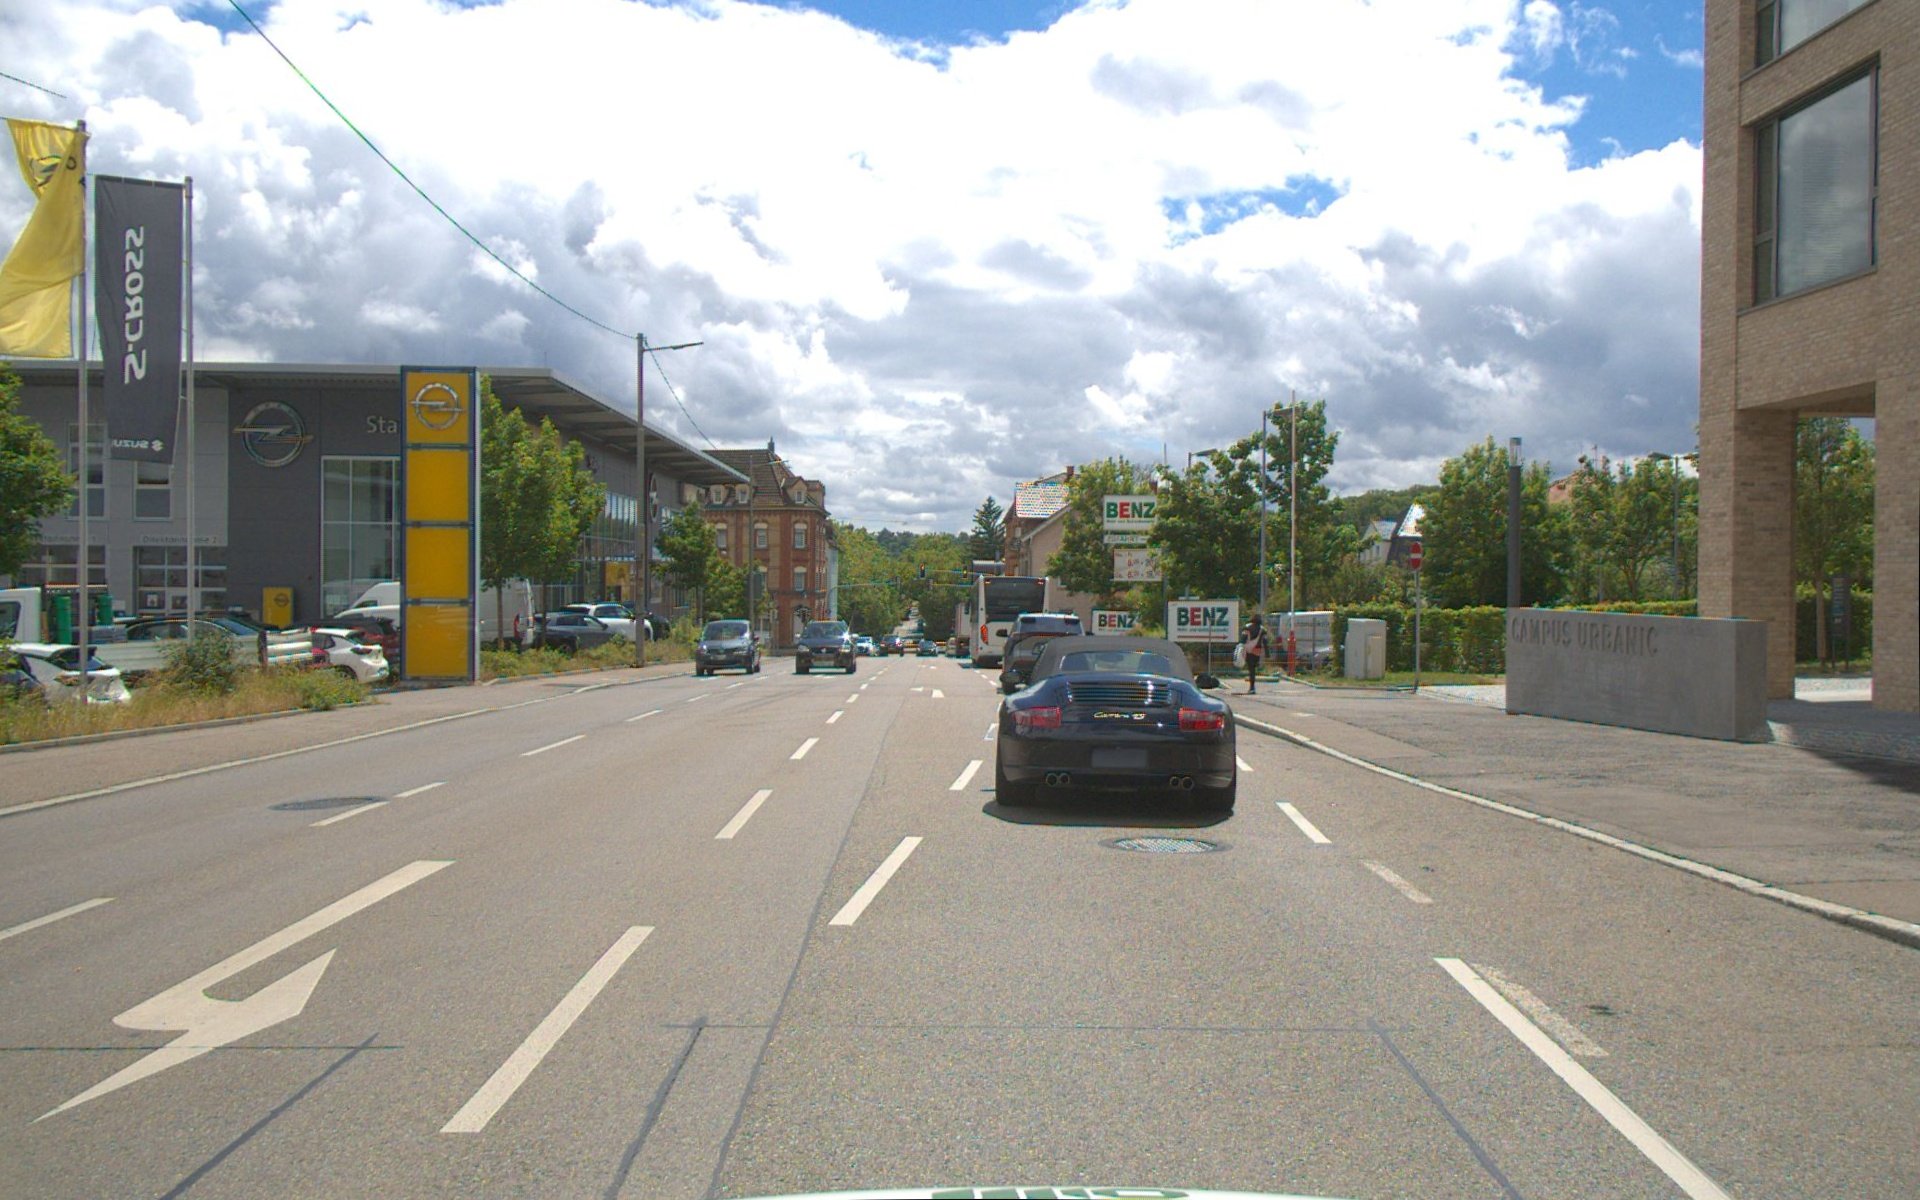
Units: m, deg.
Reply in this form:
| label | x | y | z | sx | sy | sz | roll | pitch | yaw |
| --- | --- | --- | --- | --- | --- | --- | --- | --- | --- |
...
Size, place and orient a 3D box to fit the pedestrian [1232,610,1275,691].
| label | x | y | z | sx | sy | sz | roll | pitch | yaw |
| --- | --- | --- | --- | --- | --- | --- | --- | --- | --- |
| pedestrian | 5.741 | 0.981 | 32.410 | 0.673 | 1.563 | 0.856 | 0 | 0 | -1 |

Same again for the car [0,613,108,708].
| label | x | y | z | sx | sy | sz | roll | pitch | yaw |
| --- | --- | --- | --- | --- | --- | --- | --- | --- | --- |
| car | -17.635 | 1.112 | 29.338 | 3.997 | 1.548 | 1.826 | -2 | 1 | -2 |

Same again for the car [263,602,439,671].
| label | x | y | z | sx | sy | sz | roll | pitch | yaw |
| --- | --- | --- | --- | --- | --- | --- | --- | --- | --- |
| car | -16.226 | 0.959 | 44.183 | 3.903 | 1.735 | 2.001 | 0 | 1 | 4 |

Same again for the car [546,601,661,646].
| label | x | y | z | sx | sy | sz | roll | pitch | yaw |
| --- | --- | --- | --- | --- | --- | --- | --- | --- | --- |
| car | -12.979 | 0.886 | 60.542 | 1.891 | 1.600 | 4.552 | 0 | -1 | 22 |

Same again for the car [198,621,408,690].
| label | x | y | z | sx | sy | sz | roll | pitch | yaw |
| --- | --- | --- | --- | --- | --- | --- | --- | --- | --- |
| car | -14.677 | 1.229 | 37.118 | 3.907 | 1.433 | 1.999 | 0 | 1 | -2 |

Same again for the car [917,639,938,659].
| label | x | y | z | sx | sy | sz | roll | pitch | yaw |
| --- | --- | --- | --- | --- | --- | --- | --- | --- | --- |
| car | -2.812 | 4.241 | 142.277 | 1.826 | 1.695 | 4.257 | 0 | -1 | -2 |

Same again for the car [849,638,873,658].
| label | x | y | z | sx | sy | sz | roll | pitch | yaw |
| --- | --- | --- | --- | --- | --- | --- | --- | --- | --- |
| car | -8.129 | 3.944 | 135.883 | 1.826 | 1.567 | 4.105 | 0 | -1 | -1 |

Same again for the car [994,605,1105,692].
| label | x | y | z | sx | sy | sz | roll | pitch | yaw |
| --- | --- | --- | --- | --- | --- | --- | --- | --- | --- |
| car | 1.787 | 0.955 | 34.366 | 1.892 | 1.610 | 4.206 | 0 | 1 | -3 |

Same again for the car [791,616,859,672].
| label | x | y | z | sx | sy | sz | roll | pitch | yaw |
| --- | --- | --- | --- | --- | --- | --- | --- | --- | --- |
| car | -3.862 | 1.249 | 47.889 | 1.792 | 1.535 | 4.274 | 0 | -1 | -2 |

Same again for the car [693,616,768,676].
| label | x | y | z | sx | sy | sz | roll | pitch | yaw |
| --- | --- | --- | --- | --- | --- | --- | --- | --- | --- |
| car | -6.727 | 1.322 | 48.800 | 1.708 | 1.623 | 4.040 | -2 | 0 | -2 |

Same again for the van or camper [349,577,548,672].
| label | x | y | z | sx | sy | sz | roll | pitch | yaw |
| --- | --- | --- | --- | --- | --- | --- | --- | --- | --- |
| van or camper | -14.386 | 0.670 | 46.749 | 4.925 | 2.575 | 2.317 | 0 | 1 | -2 |

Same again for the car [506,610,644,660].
| label | x | y | z | sx | sy | sz | roll | pitch | yaw |
| --- | --- | --- | --- | --- | --- | --- | --- | --- | --- |
| car | -12.794 | 1.125 | 55.245 | 1.858 | 1.476 | 4.827 | 1 | 1 | 27 |

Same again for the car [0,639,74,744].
| label | x | y | z | sx | sy | sz | roll | pitch | yaw |
| --- | --- | --- | --- | --- | --- | --- | --- | --- | --- |
| car | -13.180 | 1.086 | 20.197 | 3.641 | 1.233 | 1.928 | 0 | -1 | -1 |

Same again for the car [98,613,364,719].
| label | x | y | z | sx | sy | sz | roll | pitch | yaw |
| --- | --- | --- | --- | --- | --- | --- | --- | --- | --- |
| car | -13.007 | 1.161 | 29.676 | 3.906 | 1.616 | 1.754 | -3 | 1 | 0 |

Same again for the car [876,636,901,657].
| label | x | y | z | sx | sy | sz | roll | pitch | yaw |
| --- | --- | --- | --- | --- | --- | --- | --- | --- | --- |
| car | -5.453 | 3.581 | 126.508 | 1.826 | 1.567 | 4.105 | 0 | -1 | -2 |

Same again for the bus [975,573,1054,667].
| label | x | y | z | sx | sy | sz | roll | pitch | yaw |
| --- | --- | --- | --- | --- | --- | --- | --- | --- | --- |
| bus | 1.978 | 0.602 | 63.724 | 2.744 | 3.253 | 12.197 | 0 | 1 | 1 |

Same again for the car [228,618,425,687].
| label | x | y | z | sx | sy | sz | roll | pitch | yaw |
| --- | --- | --- | --- | --- | --- | --- | --- | --- | --- |
| car | -15.024 | 1.221 | 39.387 | 3.904 | 1.517 | 2.001 | 0 | 1 | 2 |

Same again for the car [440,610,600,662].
| label | x | y | z | sx | sy | sz | roll | pitch | yaw |
| --- | --- | --- | --- | --- | --- | --- | --- | --- | --- |
| car | -13.481 | 1.092 | 50.818 | 4.440 | 1.535 | 1.912 | 0 | -1 | -43 |

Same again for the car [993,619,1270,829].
| label | x | y | z | sx | sy | sz | roll | pitch | yaw |
| --- | --- | --- | --- | --- | --- | --- | --- | --- | --- |
| car | 1.251 | 0.901 | 13.785 | 1.891 | 1.401 | 4.208 | 0 | 0 | 0 |

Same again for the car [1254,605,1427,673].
| label | x | y | z | sx | sy | sz | roll | pitch | yaw |
| --- | --- | --- | --- | --- | --- | --- | --- | --- | --- |
| car | 11.426 | 1.168 | 49.822 | 4.619 | 1.881 | 2.085 | -1 | -1 | -9 |

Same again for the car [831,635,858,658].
| label | x | y | z | sx | sy | sz | roll | pitch | yaw |
| --- | --- | --- | --- | --- | --- | --- | --- | --- | --- |
| car | -8.201 | 3.285 | 117.630 | 1.834 | 1.517 | 3.846 | -3 | -1 | -3 |

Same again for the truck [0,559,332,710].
| label | x | y | z | sx | sy | sz | roll | pitch | yaw |
| --- | --- | --- | --- | --- | --- | --- | --- | --- | --- |
| truck | -13.085 | 0.542 | 25.674 | 5.745 | 2.185 | 2.474 | -1 | -1 | -4 |

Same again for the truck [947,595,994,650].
| label | x | y | z | sx | sy | sz | roll | pitch | yaw |
| --- | --- | --- | --- | --- | --- | --- | --- | --- | --- |
| truck | 0.594 | 1.406 | 101.326 | 2.612 | 3.162 | 9.032 | -1 | -1 | -1 |

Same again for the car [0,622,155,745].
| label | x | y | z | sx | sy | sz | roll | pitch | yaw |
| --- | --- | --- | --- | --- | --- | --- | --- | --- | --- |
| car | -13.604 | 1.123 | 23.043 | 3.806 | 1.638 | 1.928 | 0 | -1 | -1 |

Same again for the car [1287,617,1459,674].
| label | x | y | z | sx | sy | sz | roll | pitch | yaw |
| --- | --- | --- | --- | --- | --- | --- | --- | --- | --- |
| car | 11.681 | 1.286 | 46.996 | 4.343 | 1.507 | 1.999 | -1 | -1 | -2 |

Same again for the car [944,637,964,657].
| label | x | y | z | sx | sy | sz | roll | pitch | yaw |
| --- | --- | --- | --- | --- | --- | --- | --- | --- | --- |
| car | -0.618 | 4.607 | 162.127 | 1.796 | 1.915 | 3.998 | 0 | 0 | -2 |
